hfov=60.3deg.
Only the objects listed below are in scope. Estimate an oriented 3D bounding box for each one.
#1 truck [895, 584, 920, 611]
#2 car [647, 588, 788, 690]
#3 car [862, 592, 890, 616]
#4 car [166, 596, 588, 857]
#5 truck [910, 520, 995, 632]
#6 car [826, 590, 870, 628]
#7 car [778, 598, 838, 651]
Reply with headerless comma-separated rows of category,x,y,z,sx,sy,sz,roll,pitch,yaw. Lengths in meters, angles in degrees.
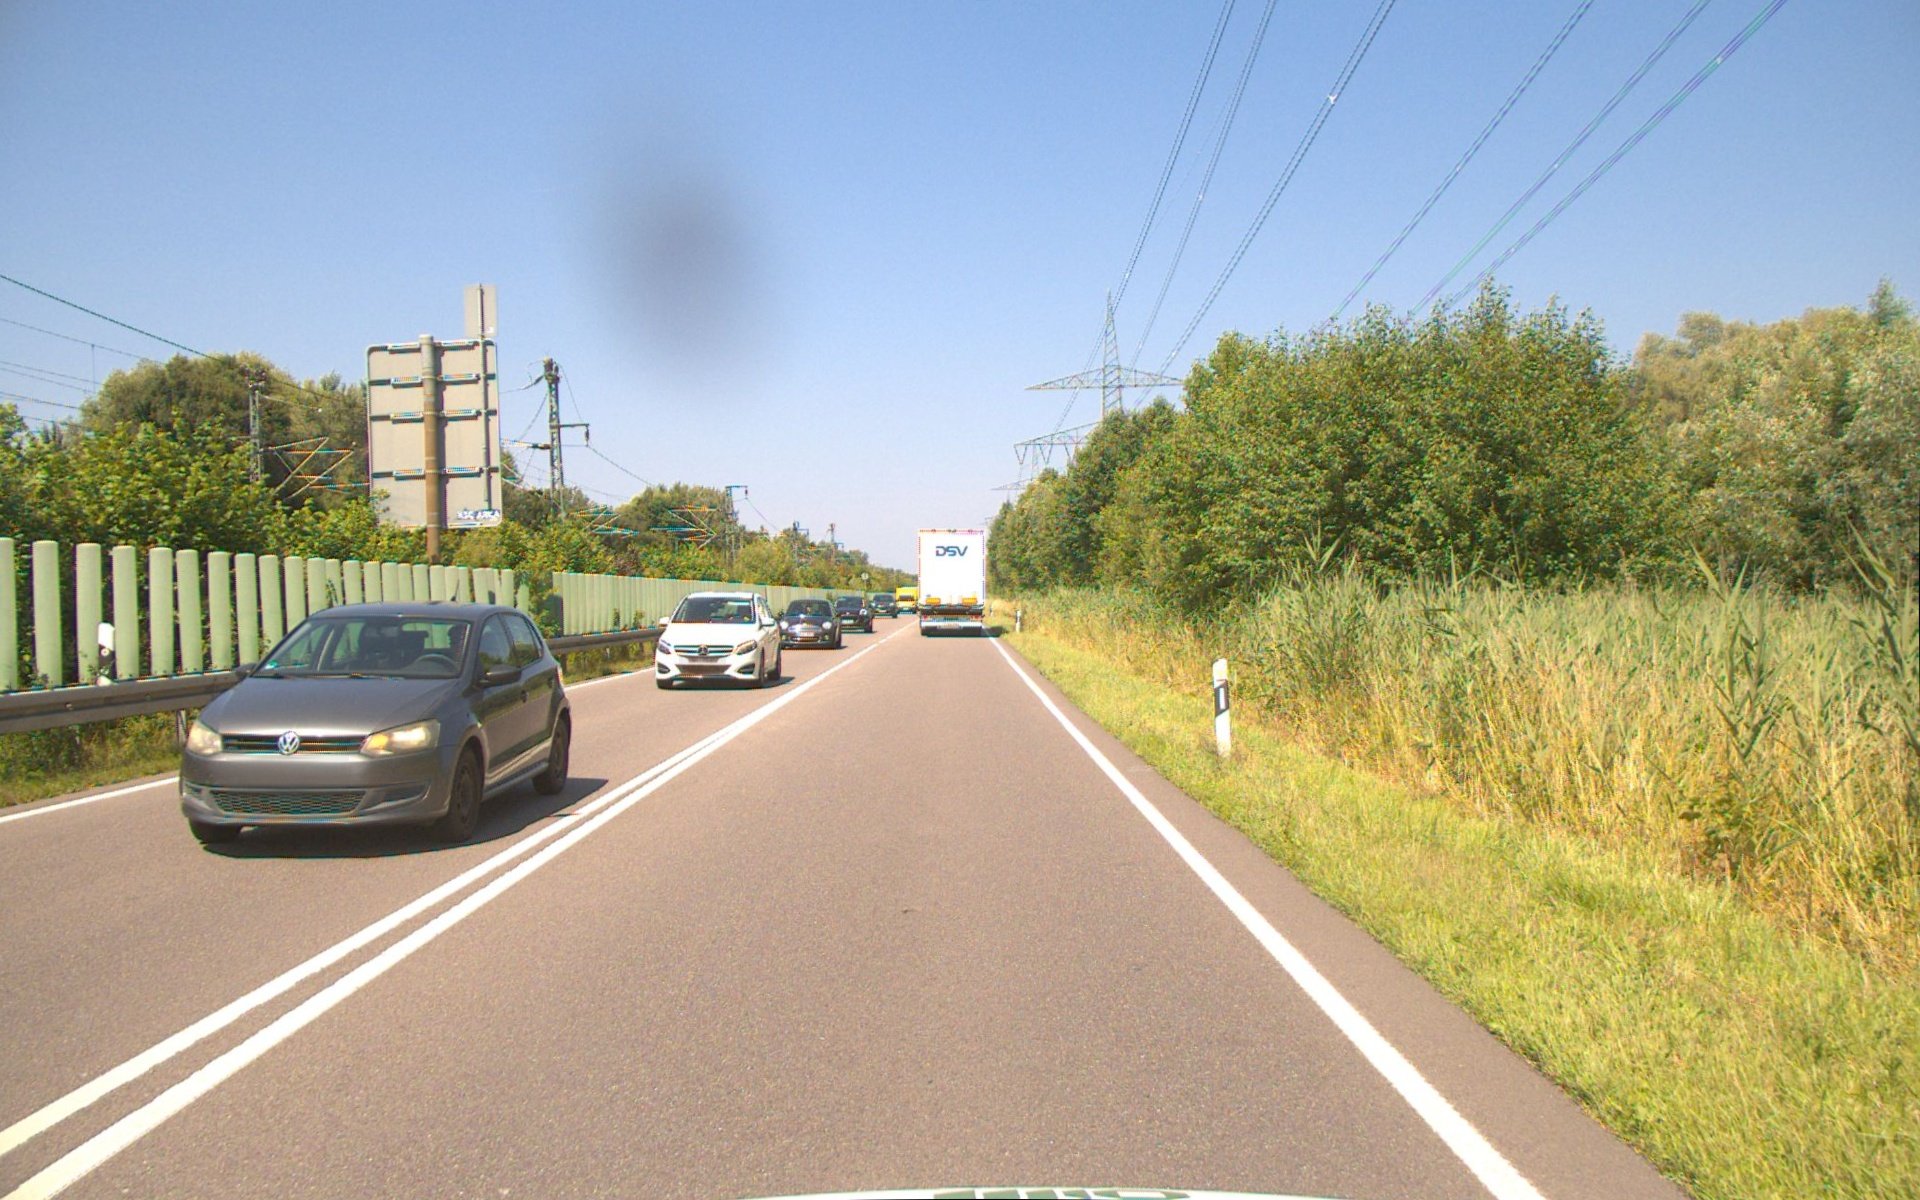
truck,-4.732,-0.205,149.880,1.952,2.389,6.012,0,0,0
car,-4.125,0.614,28.741,1.787,1.633,4.323,0,0,0
car,-5.880,0.281,115.964,1.764,1.615,4.370,0,0,0
car,-3.723,0.709,11.252,1.581,1.466,3.794,0,0,-1
truck,-0.332,-0.904,67.582,3.127,4.113,12.005,-1,0,-1
car,-4.716,0.370,70.024,1.639,1.541,4.288,0,0,-1
car,-4.402,0.686,48.389,1.475,1.460,3.741,0,0,-1
